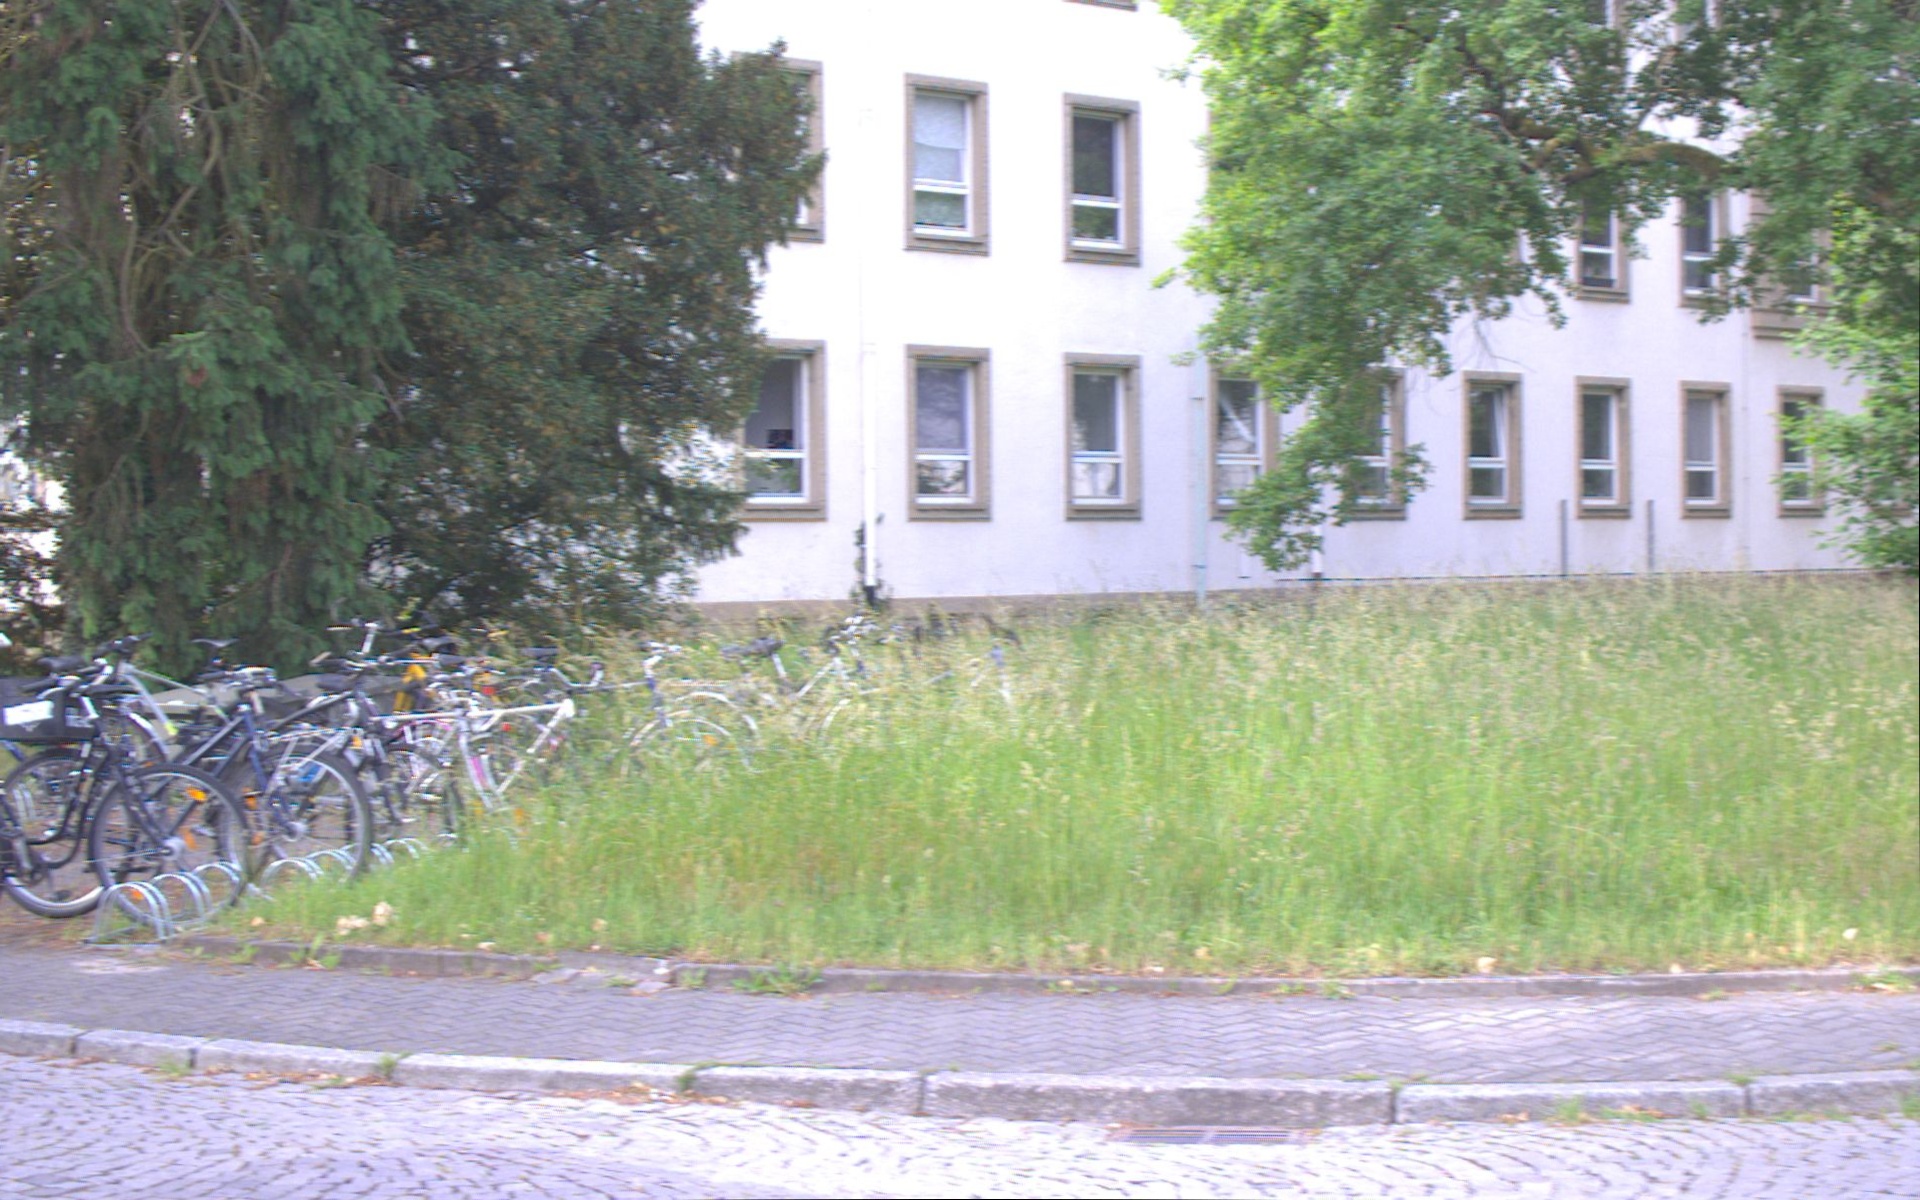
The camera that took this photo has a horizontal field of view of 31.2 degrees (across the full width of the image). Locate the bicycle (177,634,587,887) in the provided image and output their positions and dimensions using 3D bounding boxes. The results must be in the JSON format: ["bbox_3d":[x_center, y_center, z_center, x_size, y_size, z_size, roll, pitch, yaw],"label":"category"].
[{"bbox_3d":[-2.736,0.748,16.243,1.796,1.099,0.702,-1,2,27],"label":"bicycle"}]

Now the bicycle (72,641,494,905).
[{"bbox_3d":[-3.073,0.773,15.592,1.770,1.099,0.702,-1,2,27],"label":"bicycle"}]

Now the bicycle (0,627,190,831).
[{"bbox_3d":[-5.152,0.706,19.067,1.625,1.070,0.539,-1,3,16],"label":"bicycle"}]

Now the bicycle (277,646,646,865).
[{"bbox_3d":[-2.454,0.757,16.895,1.693,0.998,0.631,-1,2,27],"label":"bicycle"}]

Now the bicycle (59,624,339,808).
[{"bbox_3d":[-4.512,0.681,20.390,1.512,1.032,0.545,-1,3,16],"label":"bicycle"}]

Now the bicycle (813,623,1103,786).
[{"bbox_3d":[-0.019,0.623,20.375,1.618,0.907,0.526,-1,2,27],"label":"bicycle"}]

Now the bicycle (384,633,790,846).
[{"bbox_3d":[-1.909,0.706,17.538,1.956,1.001,0.685,-1,2,27],"label":"bicycle"}]

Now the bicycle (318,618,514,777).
[{"bbox_3d":[-3.596,0.648,22.685,1.261,1.025,0.433,-1,-2,27],"label":"bicycle"}]

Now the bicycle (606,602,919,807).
[{"bbox_3d":[-1.139,0.600,19.727,1.699,1.112,0.541,-1,2,27],"label":"bicycle"}]

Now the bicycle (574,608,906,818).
[{"bbox_3d":[-1.233,0.628,19.165,1.773,1.101,0.541,-1,2,27],"label":"bicycle"}]

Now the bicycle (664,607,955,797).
[{"bbox_3d":[-0.891,0.601,20.218,1.618,1.055,0.526,-1,2,27],"label":"bicycle"}]

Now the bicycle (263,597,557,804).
[{"bbox_3d":[-3.306,0.591,20.664,1.640,1.181,0.574,0,3,20],"label":"bicycle"}]
